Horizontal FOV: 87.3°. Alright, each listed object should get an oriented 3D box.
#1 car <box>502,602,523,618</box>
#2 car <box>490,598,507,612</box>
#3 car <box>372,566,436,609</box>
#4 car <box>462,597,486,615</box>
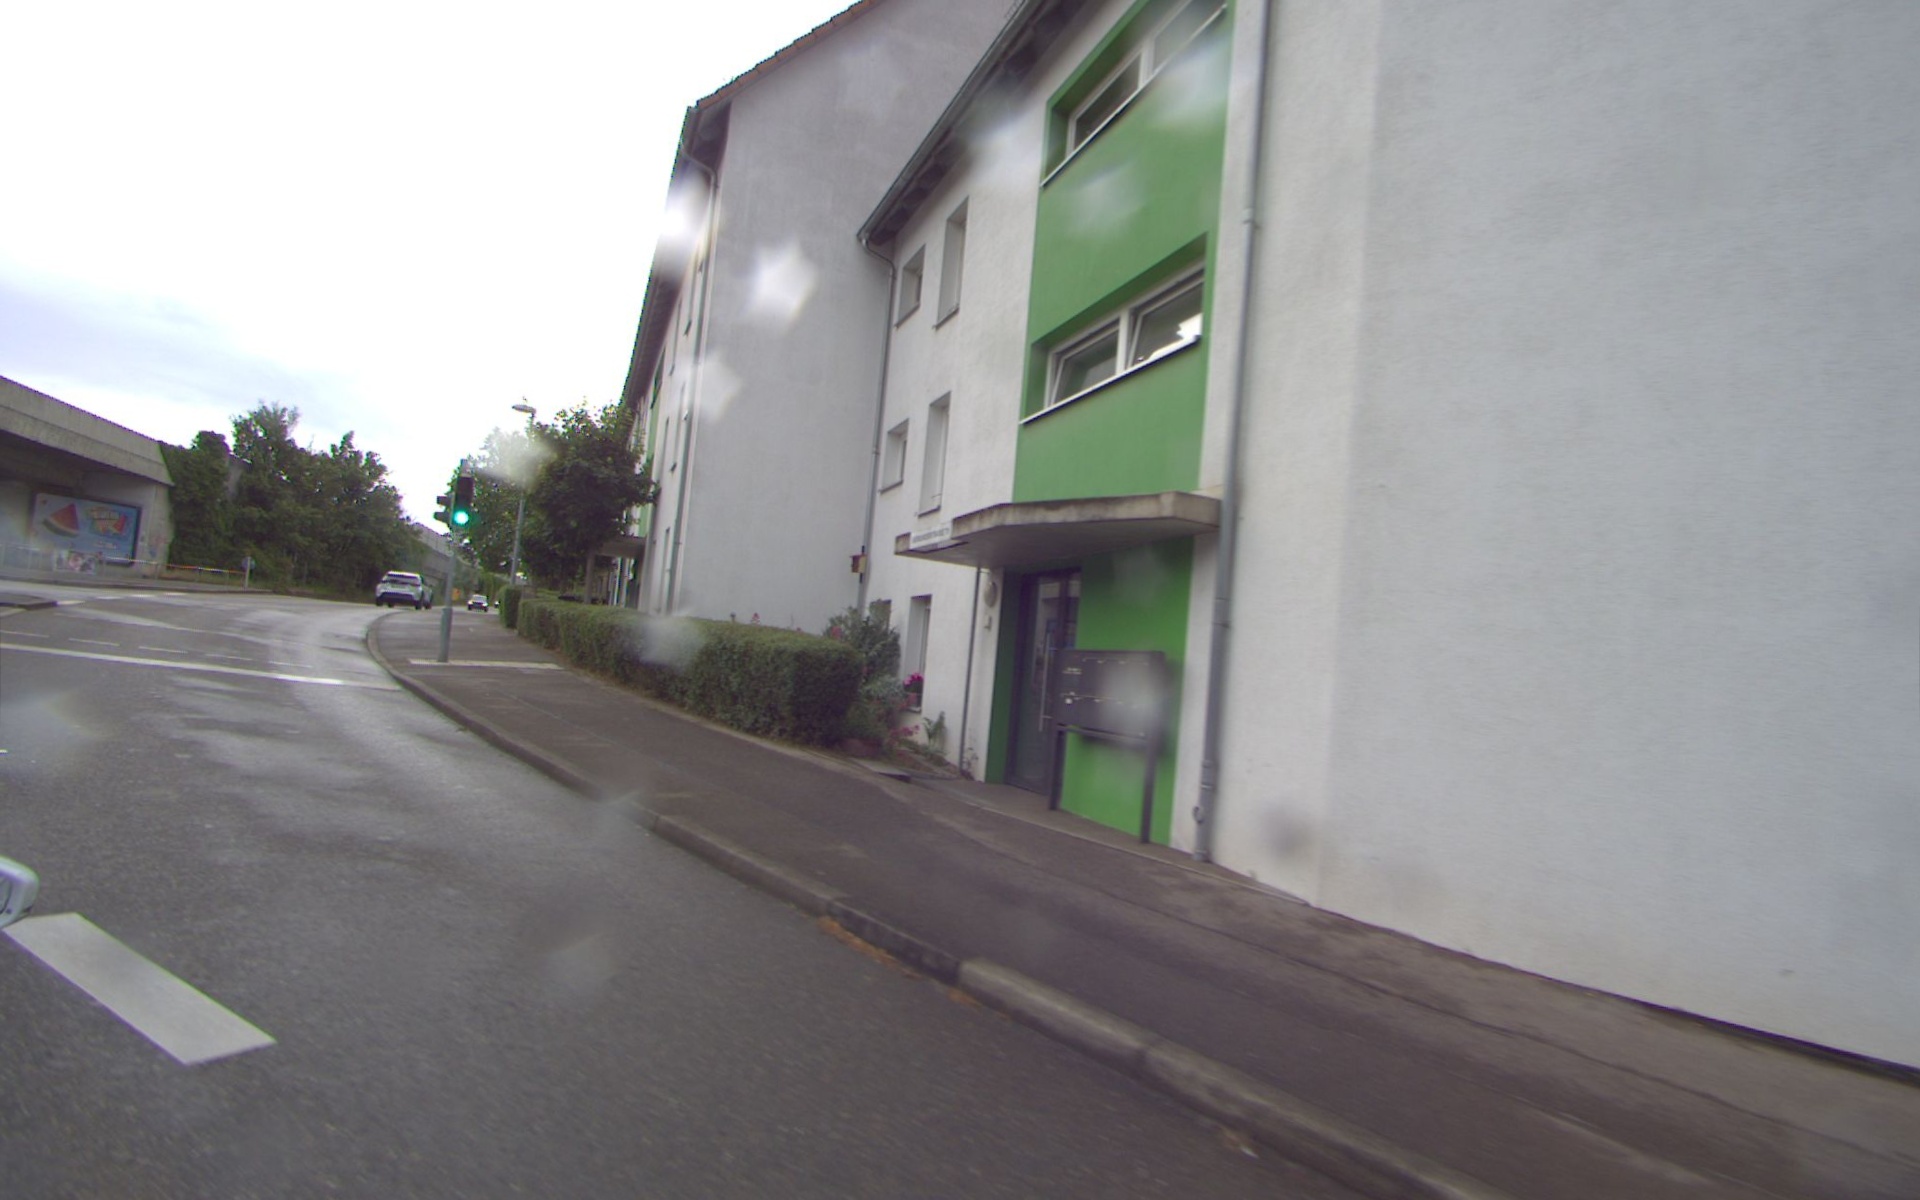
[{"bbox_3d":[-50.169,1.107,112.898,1.857,1.547,3.981,8,-3,-23],"label":"car"},{"bbox_3d":[-62.827,0.664,137.070,1.857,1.547,3.981,8,-3,-23],"label":"car"},{"bbox_3d":[-24.230,-0.516,43.951,1.857,1.547,3.981,9,-3,-23],"label":"car"},{"bbox_3d":[-49.524,0.608,102.551,1.857,1.547,3.981,8,-3,-23],"label":"car"}]
